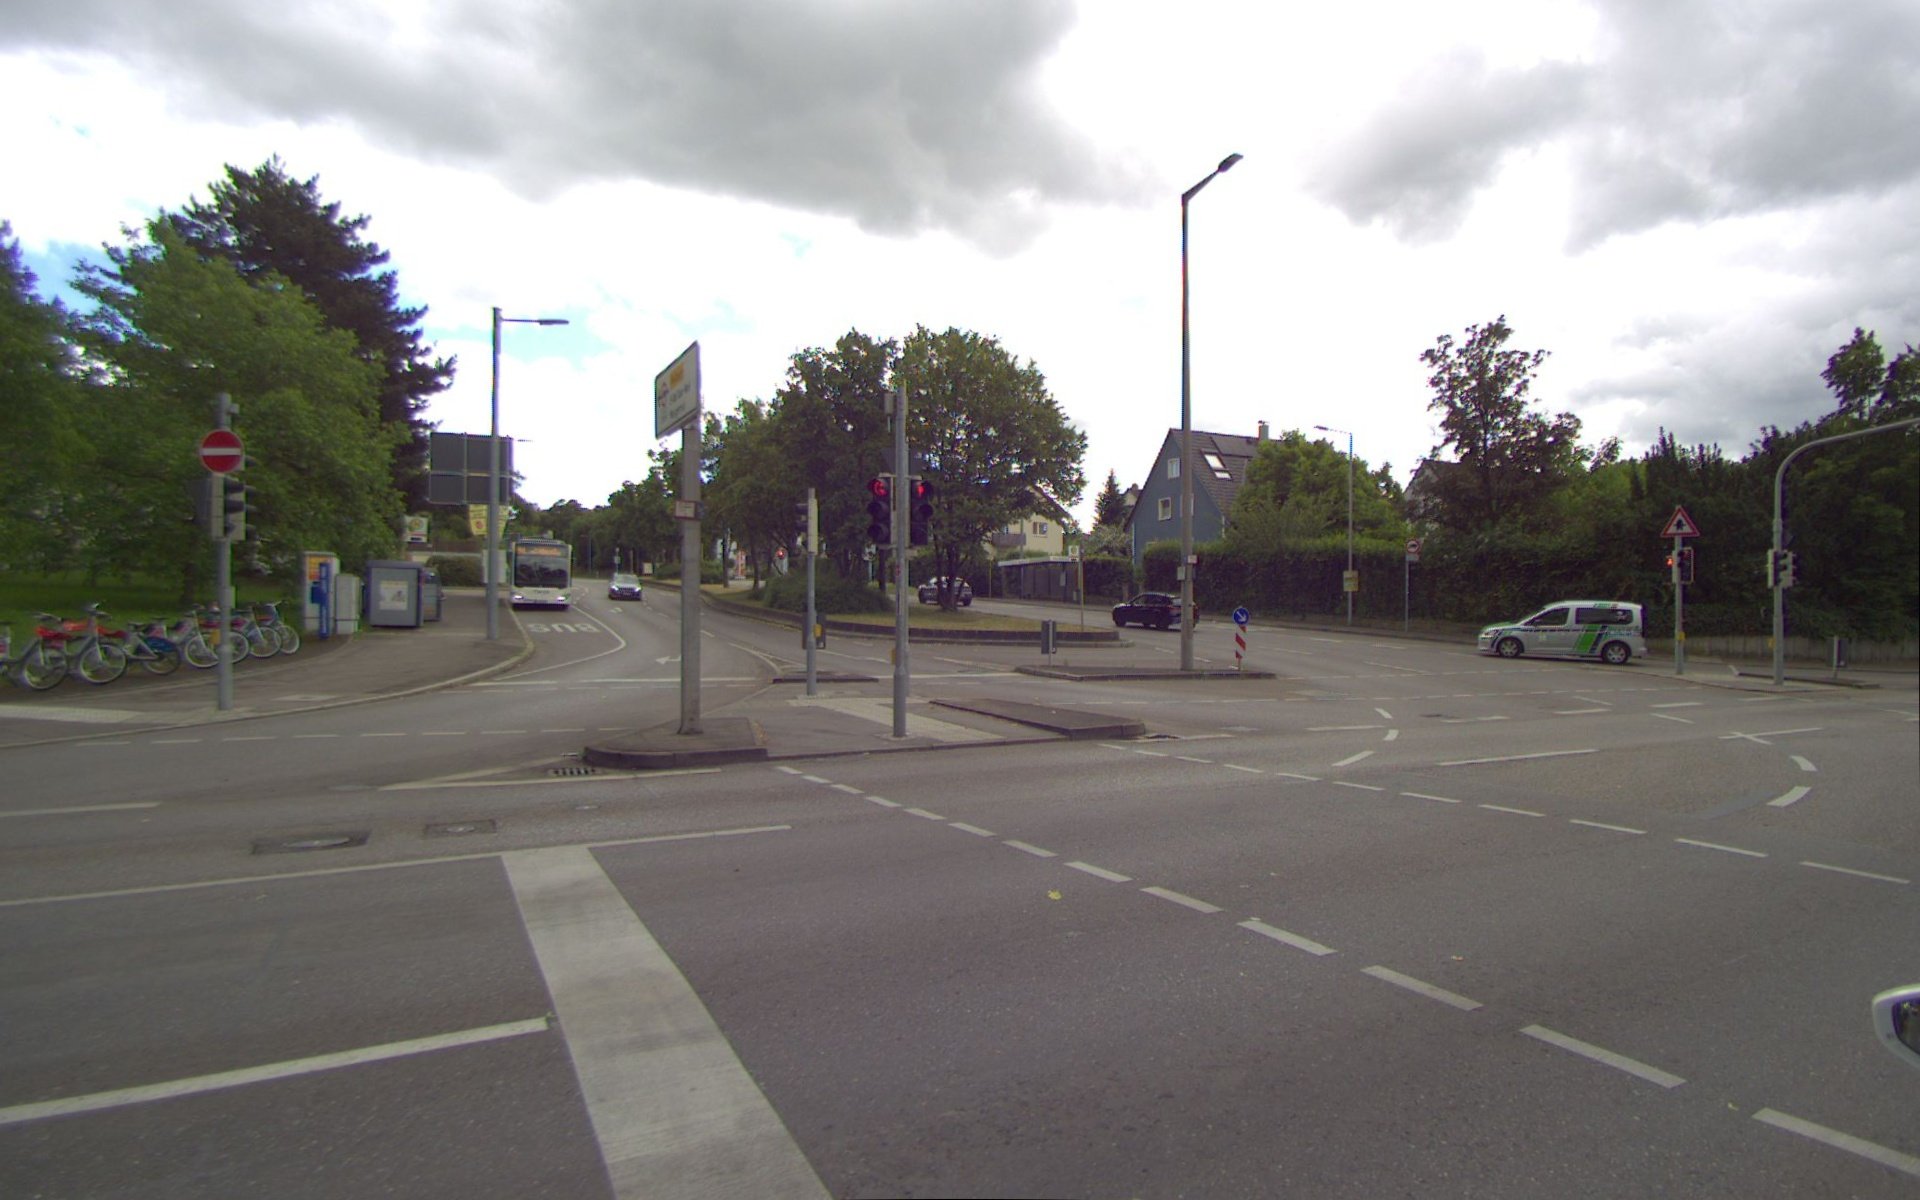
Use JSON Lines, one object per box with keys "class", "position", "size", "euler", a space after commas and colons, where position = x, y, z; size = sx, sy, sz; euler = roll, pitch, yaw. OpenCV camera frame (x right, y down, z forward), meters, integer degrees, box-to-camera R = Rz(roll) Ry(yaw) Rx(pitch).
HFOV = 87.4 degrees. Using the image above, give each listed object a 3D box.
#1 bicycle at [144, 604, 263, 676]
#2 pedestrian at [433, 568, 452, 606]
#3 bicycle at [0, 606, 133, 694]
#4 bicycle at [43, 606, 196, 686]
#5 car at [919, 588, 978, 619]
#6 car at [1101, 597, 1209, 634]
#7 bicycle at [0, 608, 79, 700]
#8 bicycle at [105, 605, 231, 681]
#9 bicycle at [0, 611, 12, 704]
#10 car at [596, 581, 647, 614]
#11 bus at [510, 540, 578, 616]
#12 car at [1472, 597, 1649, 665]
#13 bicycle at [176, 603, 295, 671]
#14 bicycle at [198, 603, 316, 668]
{"class": "bicycle", "position": [-14.239, 0.744, 18.913], "size": [1.896, 1.269, 0.546], "euler": [2, 1, 6]}
{"class": "pedestrian", "position": [-24.006, -0.607, 46.599], "size": [0.693, 1.698, 0.564], "euler": [1, 1, -25]}
{"class": "bicycle", "position": [-14.009, 0.766, 15.712], "size": [1.896, 1.269, 0.546], "euler": [2, 1, 10]}
{"class": "bicycle", "position": [-13.960, 0.763, 16.726], "size": [1.901, 1.269, 0.544], "euler": [2, 1, -11]}
{"class": "car", "position": [-0.759, 0.206, 60.941], "size": [1.923, 1.836, 4.416], "euler": [1, 0, -25]}
{"class": "car", "position": [8.172, 0.625, 42.497], "size": [1.928, 1.443, 4.500], "euler": [1, 0, -33]}
{"class": "bicycle", "position": [-14.046, 0.769, 14.783], "size": [1.896, 1.269, 0.546], "euler": [2, 1, 10]}
{"class": "bicycle", "position": [-14.158, 0.751, 17.970], "size": [1.896, 1.269, 0.546], "euler": [2, 1, 6]}
{"class": "bicycle", "position": [-14.198, 0.768, 13.894], "size": [1.896, 1.269, 0.546], "euler": [2, 1, 10]}
{"class": "car", "position": [-20.650, -0.184, 61.196], "size": [1.977, 1.877, 4.706], "euler": [1, 0, -31]}
{"class": "bus", "position": [-20.556, -1.264, 49.360], "size": [2.642, 3.205, 12.273], "euler": [1, 3, -24]}
{"class": "car", "position": [18.168, 0.886, 30.657], "size": [4.457, 1.899, 1.947], "euler": [1, 0, 27]}
{"class": "bicycle", "position": [-14.429, 0.733, 20.036], "size": [1.899, 1.269, 0.545], "euler": [2, 1, -5]}
{"class": "bicycle", "position": [-14.500, 0.727, 20.749], "size": [1.901, 1.269, 0.544], "euler": [2, 1, -11]}
